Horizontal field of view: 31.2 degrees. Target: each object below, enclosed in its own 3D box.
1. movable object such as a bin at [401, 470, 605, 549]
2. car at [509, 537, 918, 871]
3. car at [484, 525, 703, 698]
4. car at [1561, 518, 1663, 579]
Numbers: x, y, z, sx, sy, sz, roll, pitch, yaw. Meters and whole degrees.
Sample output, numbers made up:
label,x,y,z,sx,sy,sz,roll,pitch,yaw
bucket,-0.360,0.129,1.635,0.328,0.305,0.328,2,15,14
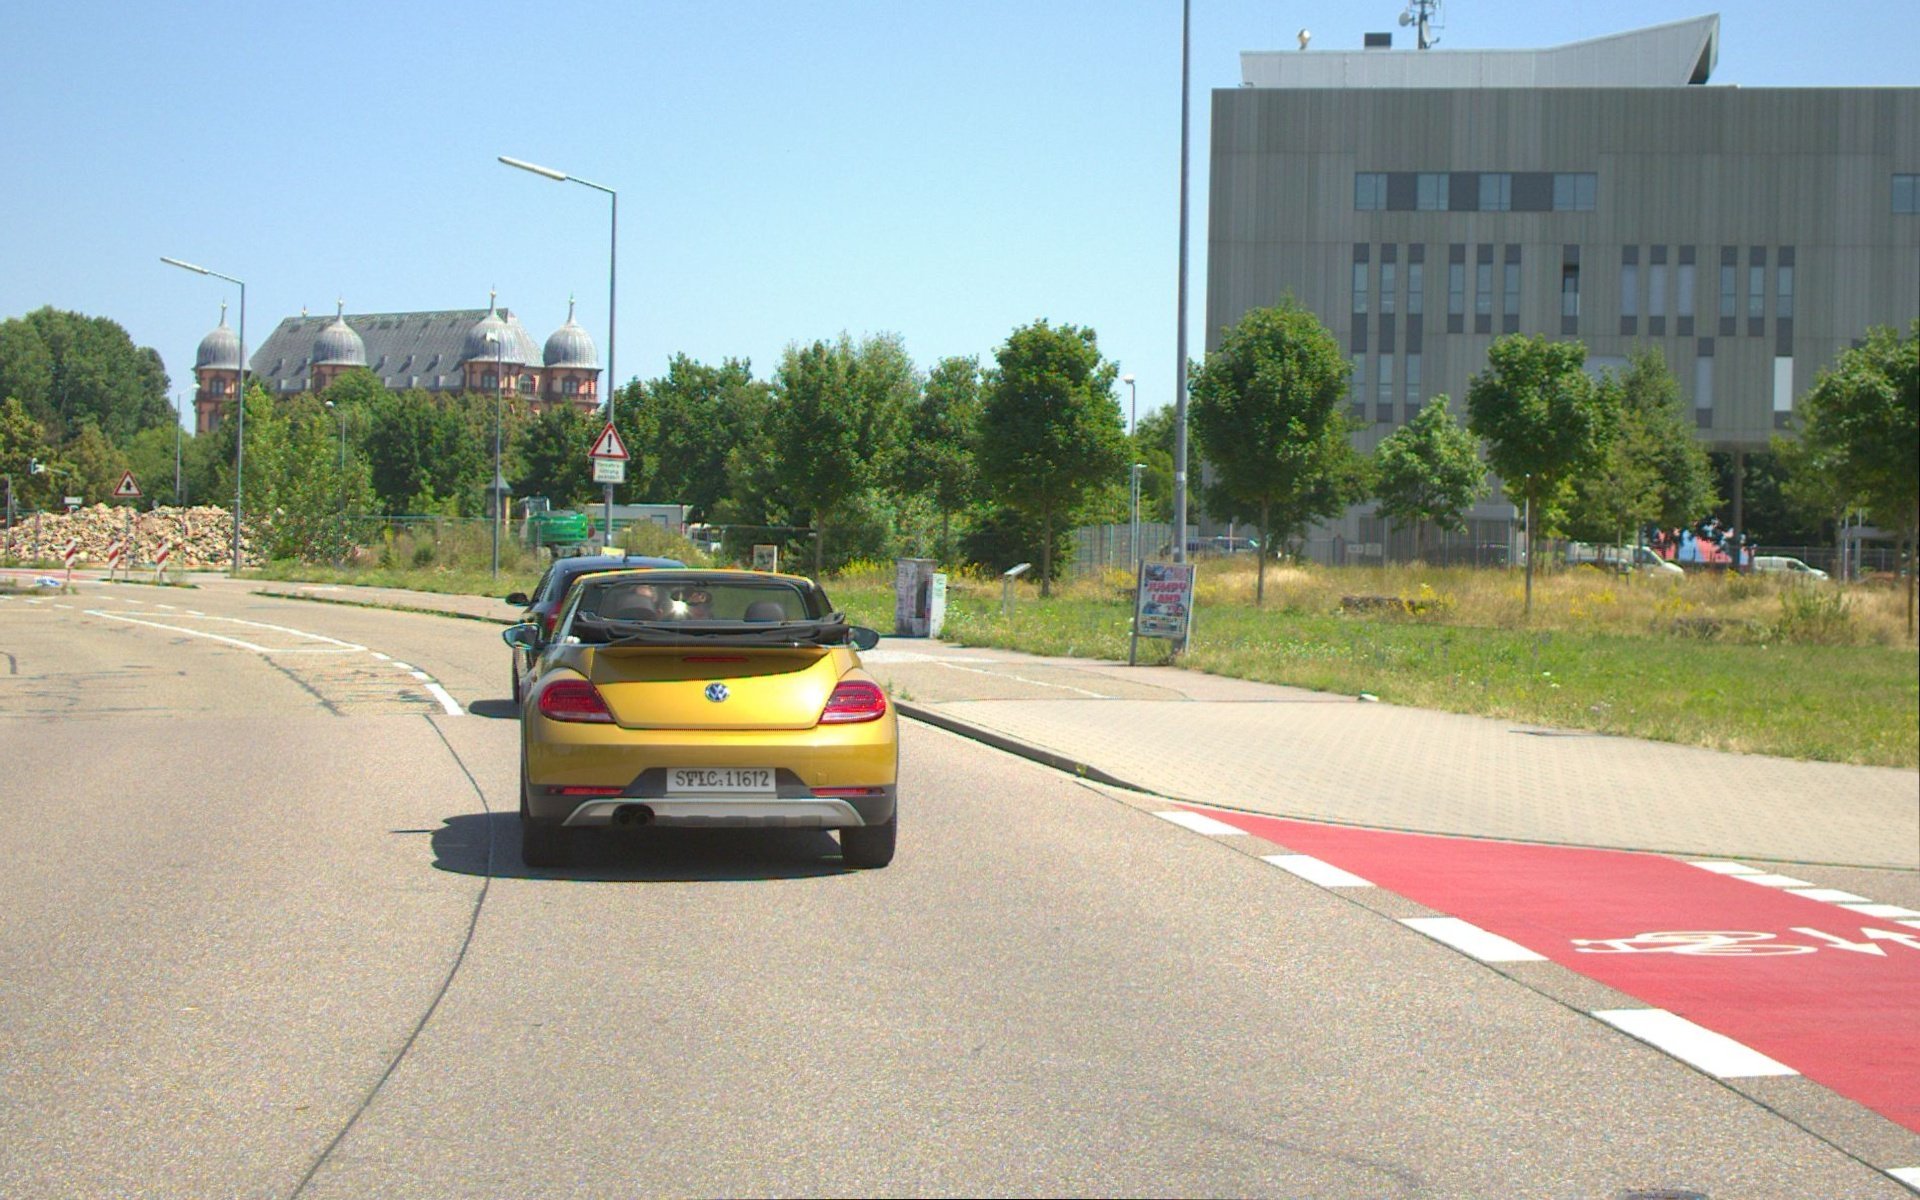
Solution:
label,x,y,z,sx,sy,sz,roll,pitch,yaw
movable object such as a bin,-20.304,-4.000,151.963,4.939,3.249,10.469,1,1,-32
car,-1.310,0.434,17.250,1.789,1.432,3.815,1,1,-6
car,-3.286,0.068,31.416,1.726,1.438,4.001,1,1,-3
car,25.779,-2.039,135.912,3.844,2.286,1.741,1,1,12
